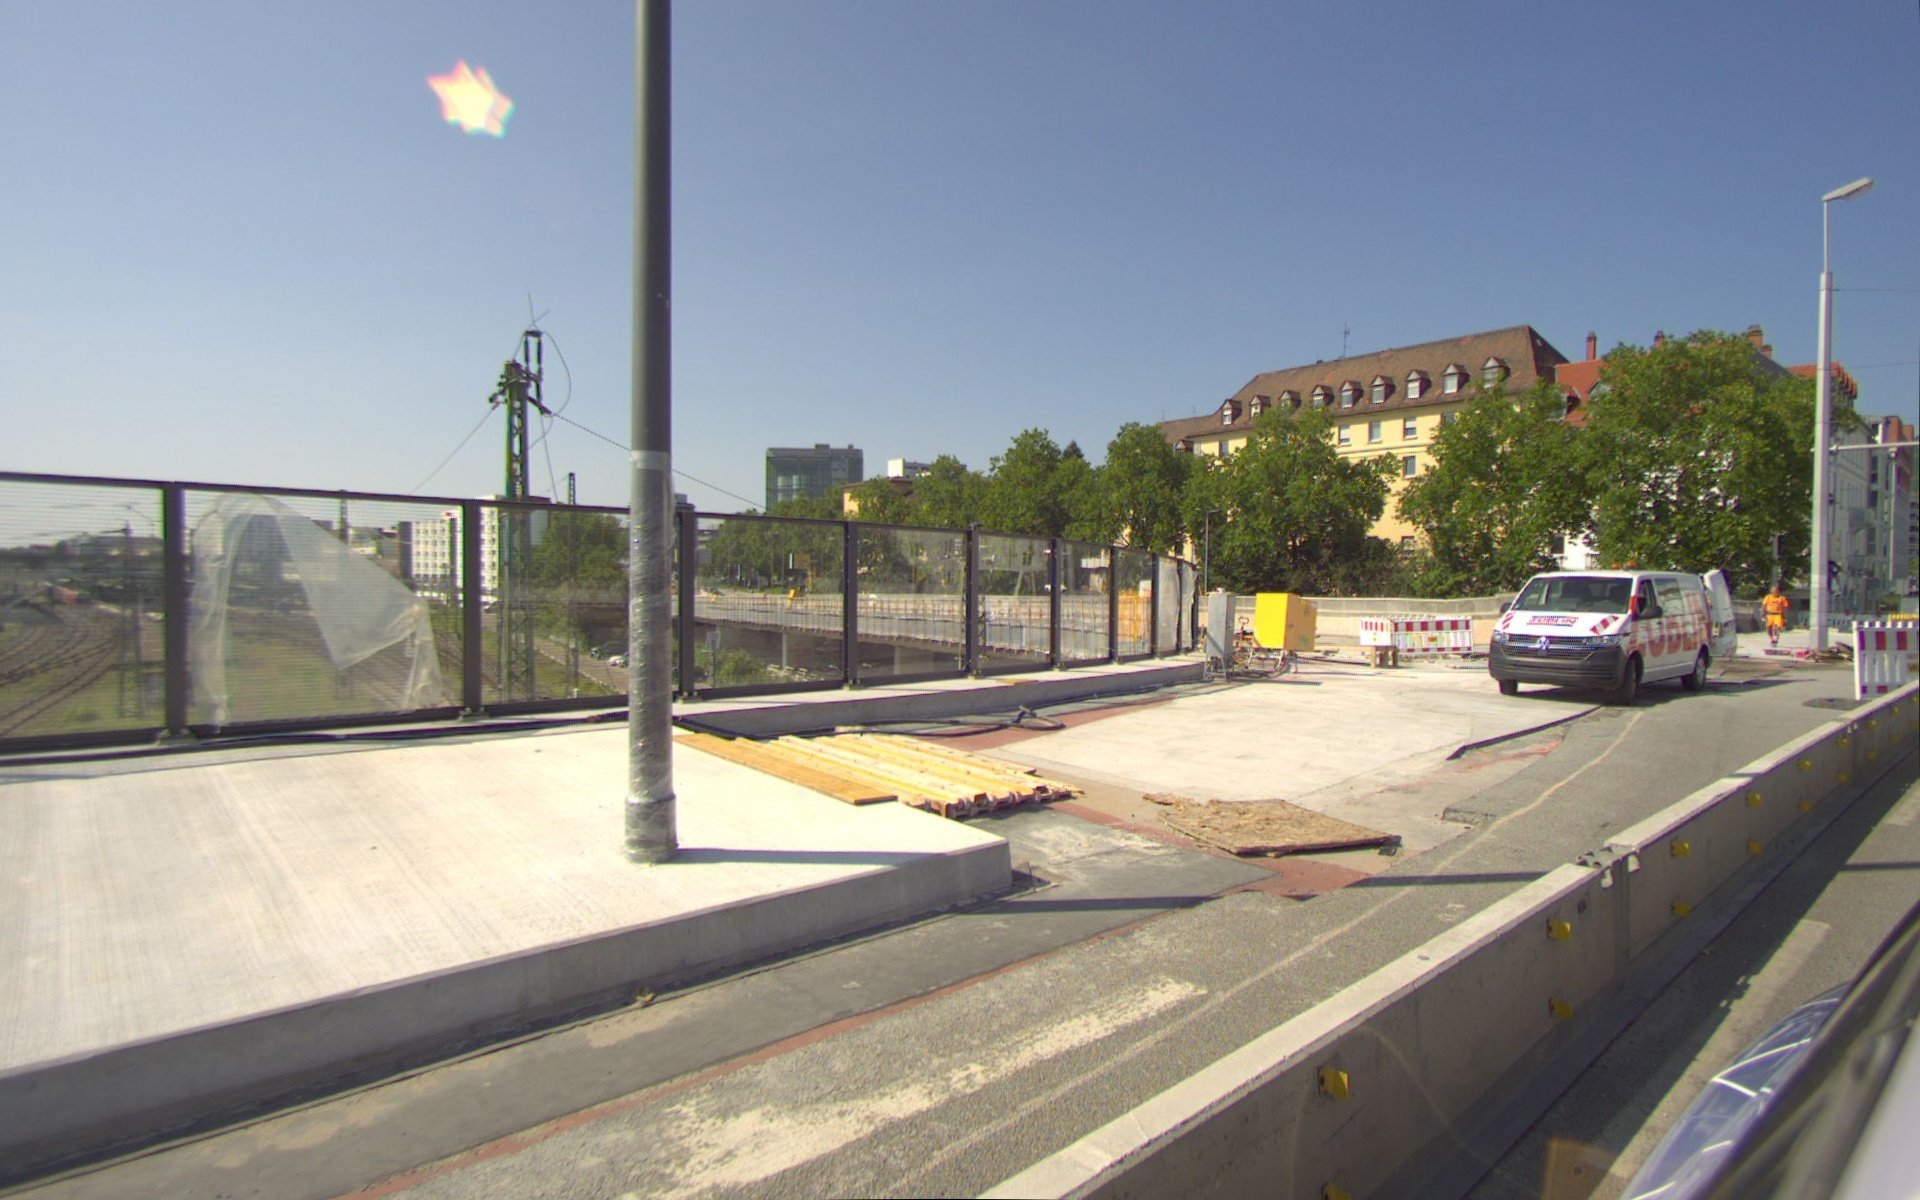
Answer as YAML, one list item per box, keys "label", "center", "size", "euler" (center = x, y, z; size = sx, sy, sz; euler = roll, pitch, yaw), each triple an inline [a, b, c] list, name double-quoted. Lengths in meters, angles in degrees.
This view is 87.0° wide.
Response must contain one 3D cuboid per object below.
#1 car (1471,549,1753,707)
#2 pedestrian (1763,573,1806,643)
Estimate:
- label: "car"
  center: [10.723, 0.287, 16.371]
  size: [6.354, 2.116, 1.938]
  euler: [-2, 2, -39]
- label: "pedestrian"
  center: [24.241, 0.214, 29.754]
  size: [0.828, 2.009, 0.761]
  euler: [-1, 3, -41]
